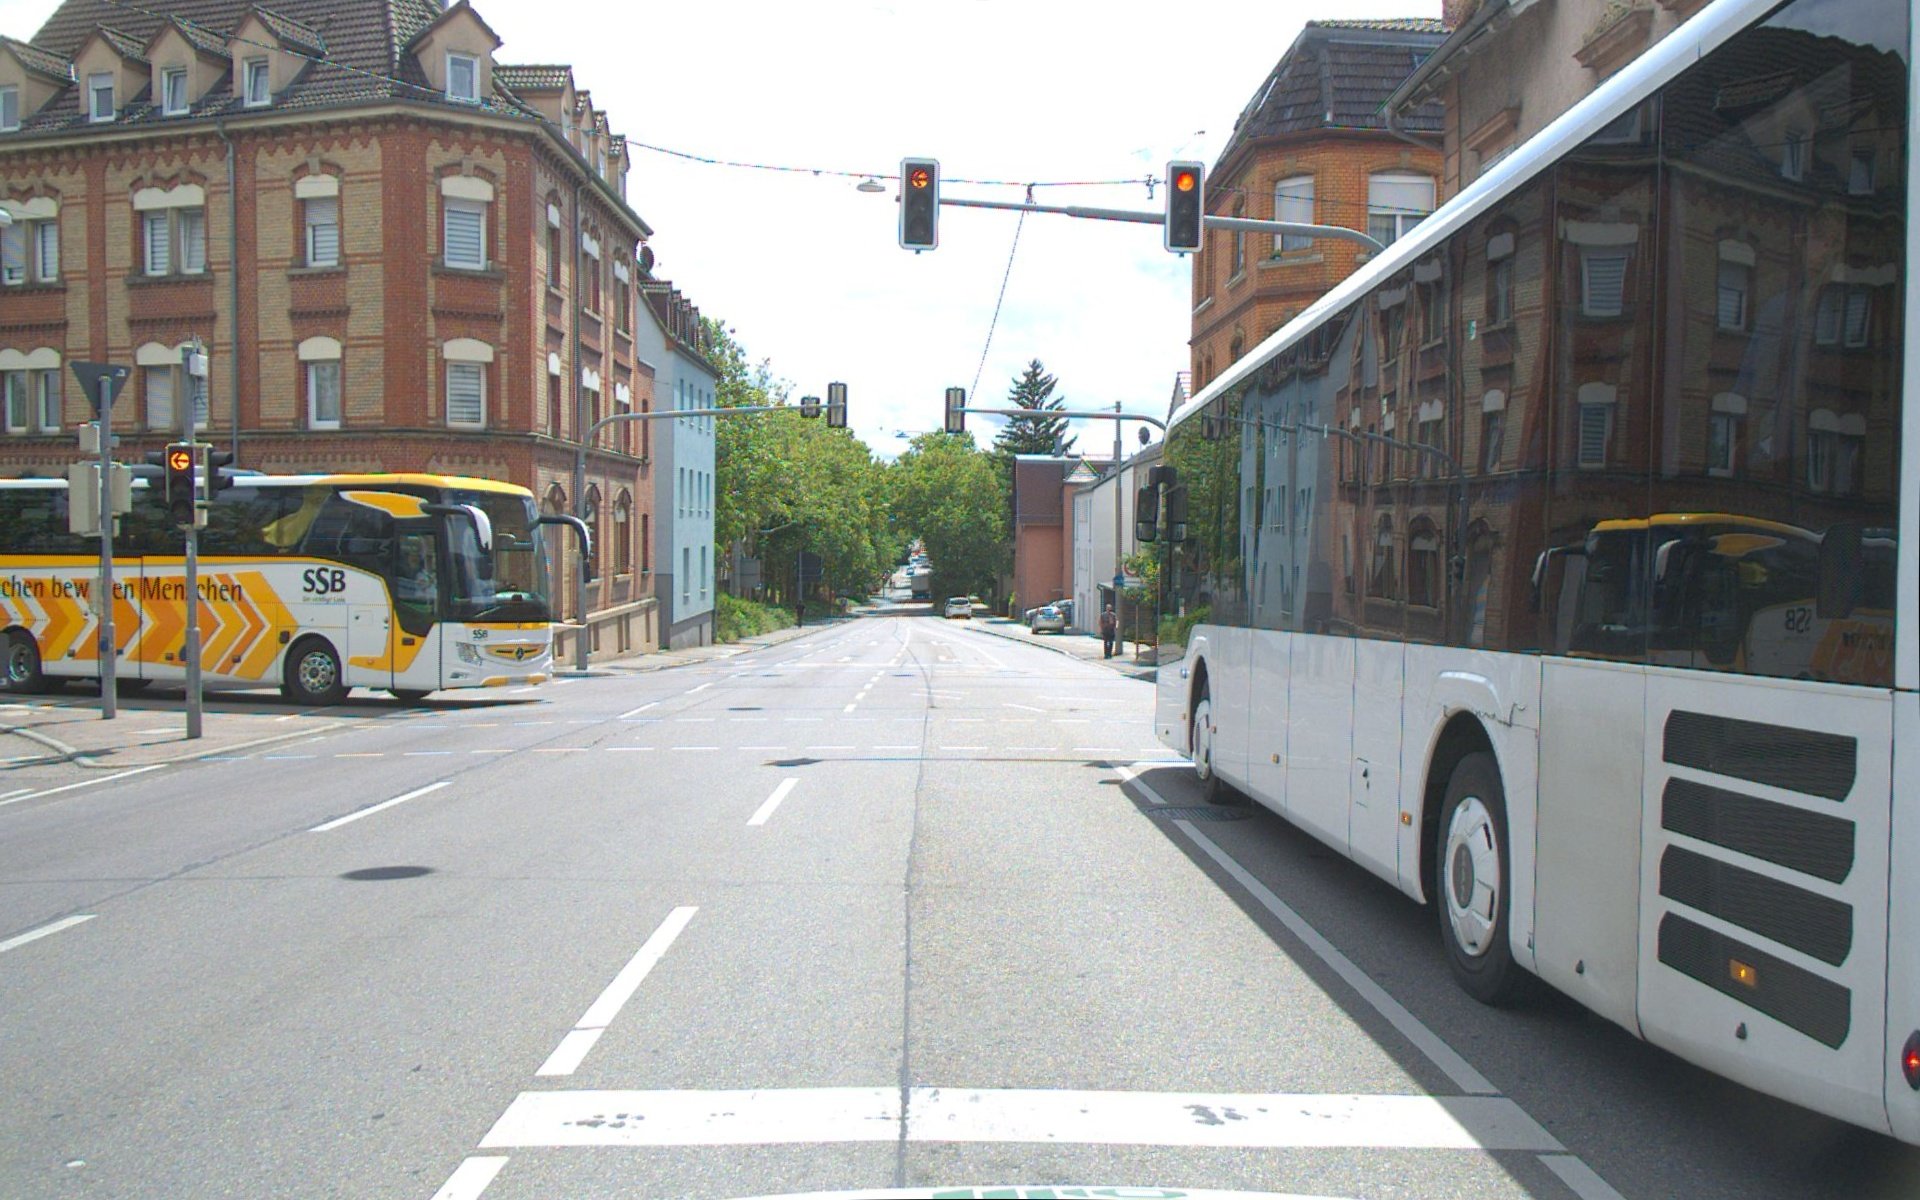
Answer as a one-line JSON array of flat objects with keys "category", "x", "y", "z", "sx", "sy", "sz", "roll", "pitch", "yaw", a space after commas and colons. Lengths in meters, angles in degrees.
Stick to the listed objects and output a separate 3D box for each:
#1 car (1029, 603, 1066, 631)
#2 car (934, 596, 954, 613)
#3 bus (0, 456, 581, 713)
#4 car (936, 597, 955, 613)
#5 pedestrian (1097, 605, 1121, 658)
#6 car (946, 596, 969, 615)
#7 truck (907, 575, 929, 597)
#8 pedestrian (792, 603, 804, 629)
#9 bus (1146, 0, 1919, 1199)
[{"category": "car", "x": 4.911, "y": 0.937, "z": 93.133, "sx": 1.758, "sy": 1.434, "sz": 3.999, "roll": -1, "pitch": 1, "yaw": -2}, {"category": "car", "x": -1.408, "y": 0.390, "z": 145.800, "sx": 1.757, "sy": 1.434, "sz": 4.418, "roll": 1, "pitch": 0, "yaw": 0}, {"category": "bus", "x": -12.131, "y": -0.277, "z": 27.064, "sx": 11.970, "sy": 3.685, "sz": 2.772, "roll": 0, "pitch": 0, "yaw": 20}, {"category": "car", "x": -1.338, "y": 0.500, "z": 153.906, "sx": 1.757, "sy": 1.434, "sz": 4.418, "roll": 1, "pitch": 0, "yaw": 0}, {"category": "pedestrian", "x": 4.980, "y": 1.050, "z": 55.444, "sx": 0.723, "sy": 1.781, "sz": 0.619, "roll": -1, "pitch": 0, "yaw": -1}, {"category": "car", "x": -0.175, "y": 0.443, "z": 129.341, "sx": 1.757, "sy": 1.434, "sz": 4.000, "roll": 1, "pitch": 0, "yaw": 0}, {"category": "truck", "x": -6.131, "y": -1.980, "z": 238.621, "sx": 2.868, "sy": 3.135, "sz": 7.881, "roll": -1, "pitch": 0, "yaw": -3}, {"category": "pedestrian", "x": -9.744, "y": 0.966, "z": 99.498, "sx": 0.714, "sy": 1.592, "sz": 0.560, "roll": 0, "pitch": 0, "yaw": -2}, {"category": "bus", "x": 3.153, "y": -0.154, "z": 9.402, "sx": 2.618, "sy": 3.211, "sz": 12.459, "roll": -1, "pitch": 0, "yaw": -1}]
